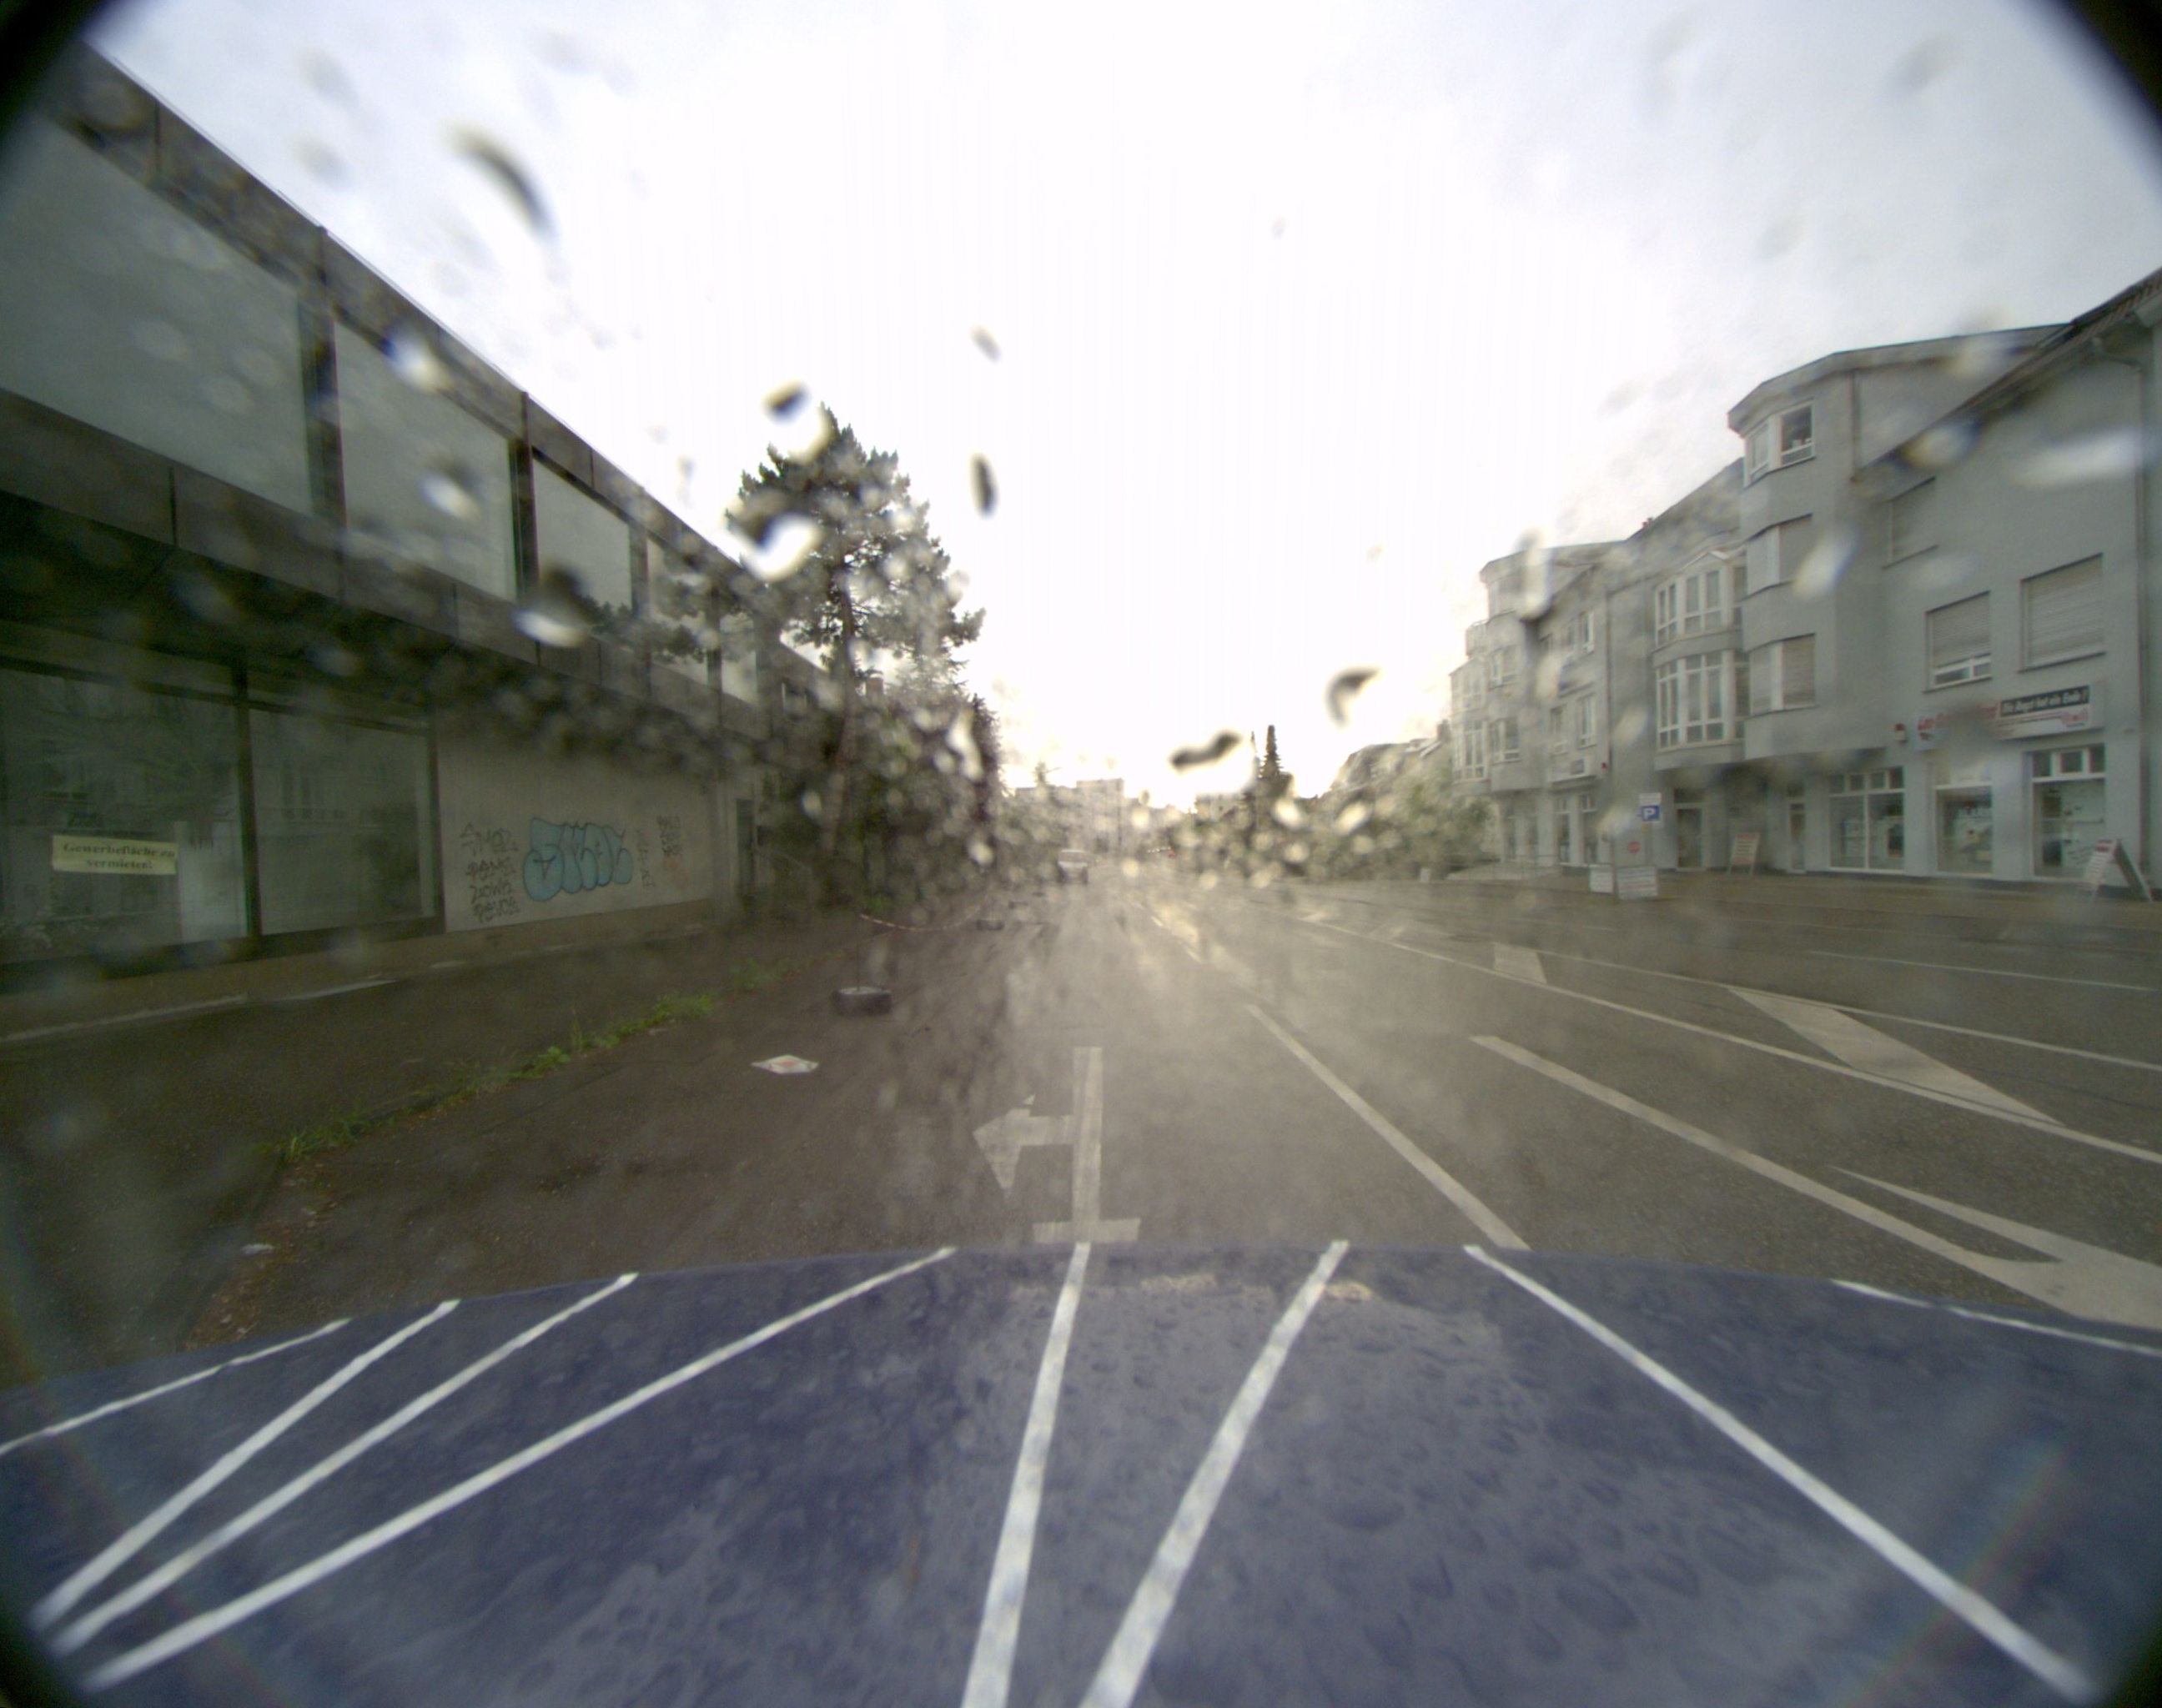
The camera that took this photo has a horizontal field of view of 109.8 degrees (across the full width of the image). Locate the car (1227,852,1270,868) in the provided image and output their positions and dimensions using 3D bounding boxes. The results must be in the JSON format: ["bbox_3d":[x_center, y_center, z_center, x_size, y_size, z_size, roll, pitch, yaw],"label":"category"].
[{"bbox_3d":[17.076,0.635,77.430,4.034,1.434,1.813,-3,0,6],"label":"car"}]

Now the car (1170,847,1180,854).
[{"bbox_3d":[22.295,-0.783,180.415,1.997,1.606,4.003,-1,0,11],"label":"car"}]

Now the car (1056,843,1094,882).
[{"bbox_3d":[-0.351,0.541,51.350,2.397,2.417,6.433,-1,0,1],"label":"car"}]

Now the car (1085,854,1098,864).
[{"bbox_3d":[1.904,0.822,133.604,1.912,1.622,3.703,-1,0,5],"label":"car"}]

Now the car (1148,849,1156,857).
[{"bbox_3d":[17.160,-0.145,183.991,1.851,1.870,4.122,-1,0,5],"label":"car"}]

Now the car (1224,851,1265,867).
[{"bbox_3d":[17.720,0.576,82.624,4.114,1.536,2.001,-3,0,6],"label":"car"}]

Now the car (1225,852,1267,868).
[{"bbox_3d":[17.310,0.649,79.913,4.155,1.434,1.891,-3,0,8],"label":"car"}]

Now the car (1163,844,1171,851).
[{"bbox_3d":[24.271,-1.869,214.256,1.850,1.753,4.124,-1,0,11],"label":"car"}]
